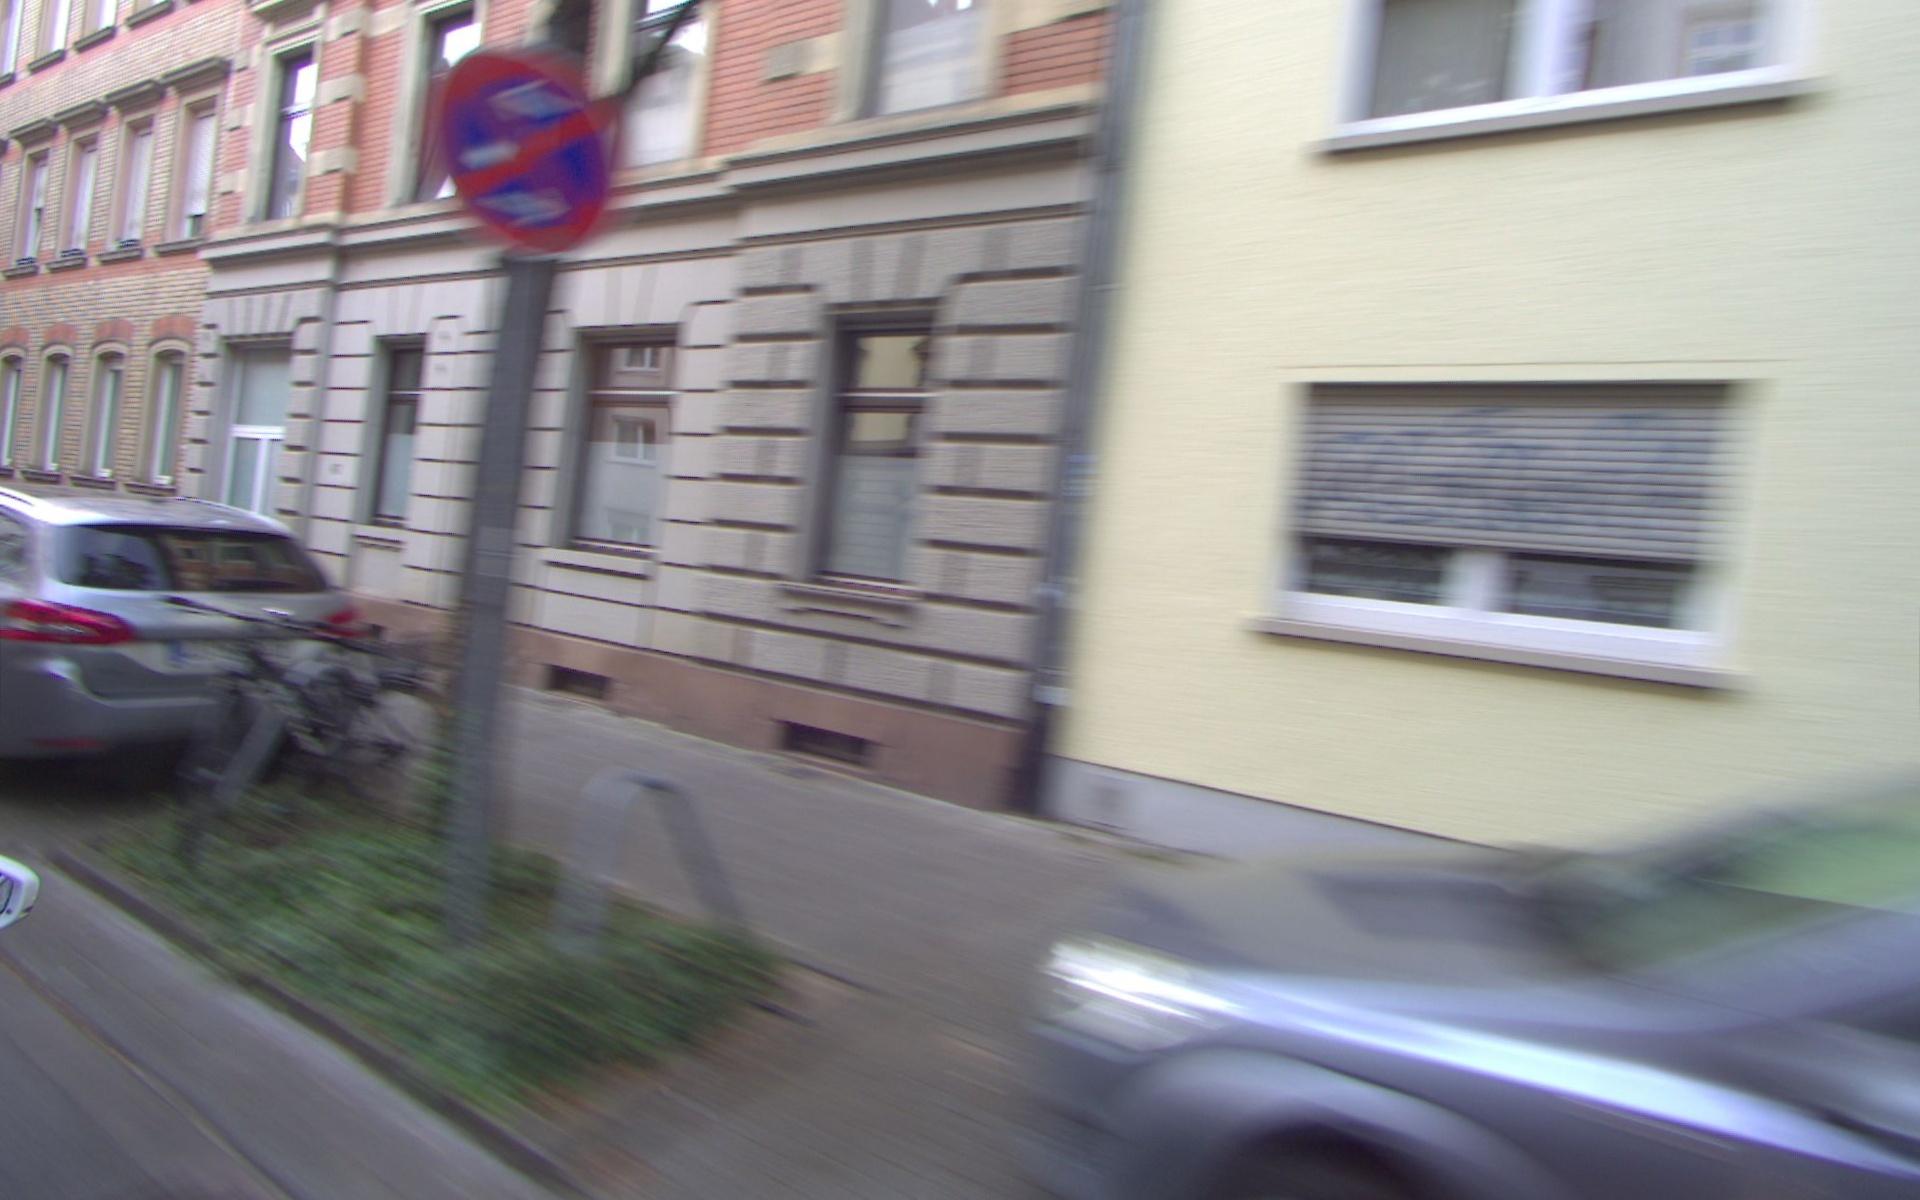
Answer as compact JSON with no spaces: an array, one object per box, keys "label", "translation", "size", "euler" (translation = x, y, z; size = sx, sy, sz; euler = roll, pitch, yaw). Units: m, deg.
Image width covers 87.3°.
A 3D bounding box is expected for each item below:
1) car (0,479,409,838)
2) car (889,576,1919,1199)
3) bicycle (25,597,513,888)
[{"label":"car","translation":[-5.474,0.073,6.027],"size":[4.293,1.495,1.719],"euler":[7,1,29]},{"label":"car","translation":[2.164,0.981,1.815],"size":[4.235,1.481,1.761],"euler":[7,0,30]},{"label":"bicycle","translation":[-3.000,0.557,4.682],"size":[0.626,0.993,1.923],"euler":[7,0,9]}]
